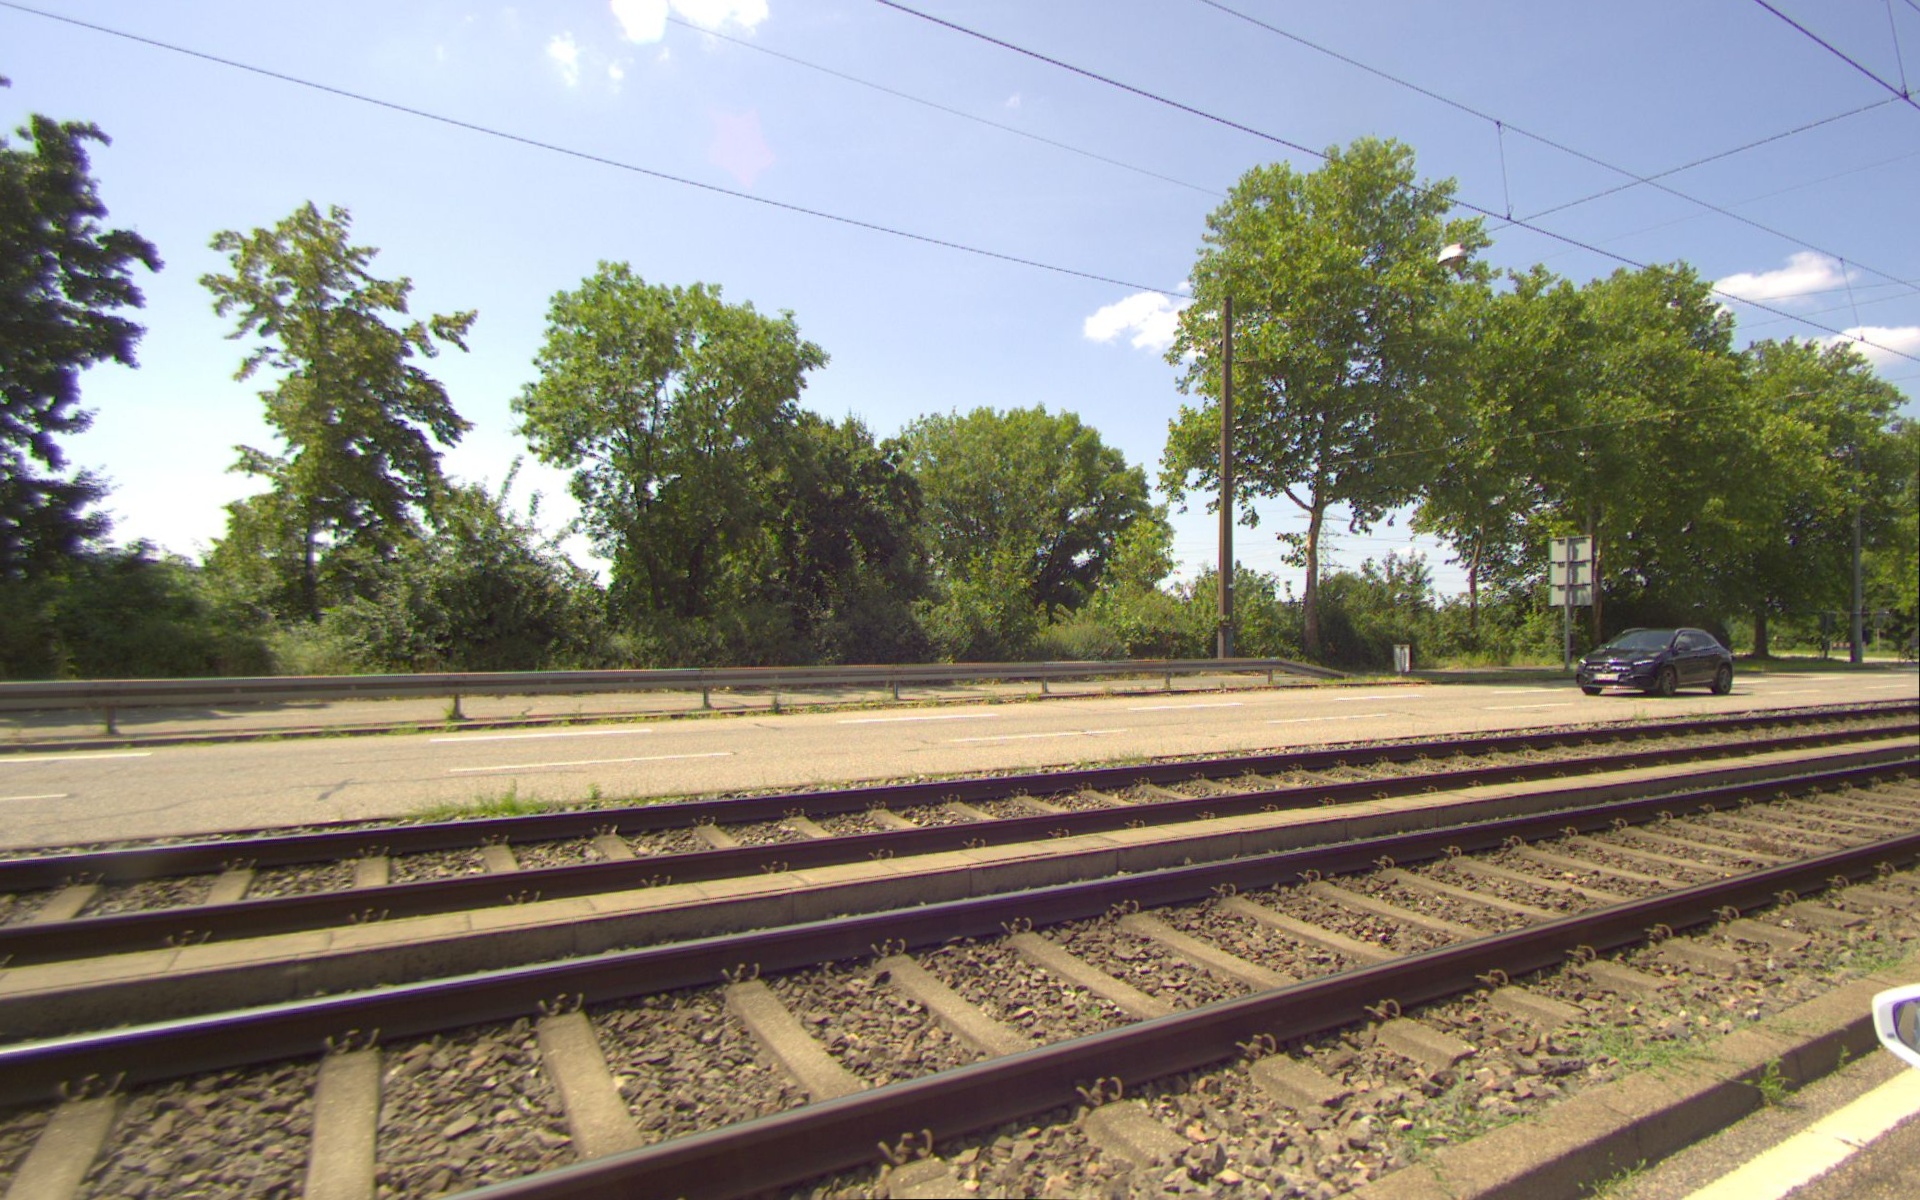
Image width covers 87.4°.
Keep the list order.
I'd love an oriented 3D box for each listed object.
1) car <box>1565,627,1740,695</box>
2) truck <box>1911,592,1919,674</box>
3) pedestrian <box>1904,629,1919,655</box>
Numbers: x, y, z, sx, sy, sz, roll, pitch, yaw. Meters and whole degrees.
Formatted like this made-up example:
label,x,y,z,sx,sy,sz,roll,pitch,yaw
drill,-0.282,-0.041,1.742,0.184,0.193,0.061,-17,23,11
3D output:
label,x,y,z,sx,sy,sz,roll,pitch,yaw
car,16.757,1.421,24.274,4.375,1.534,1.809,1,-2,-30
truck,37.939,1.231,37.360,6.245,2.977,2.044,1,-2,-30
pedestrian,57.921,2.582,61.138,0.697,1.571,0.510,1,-2,-35
